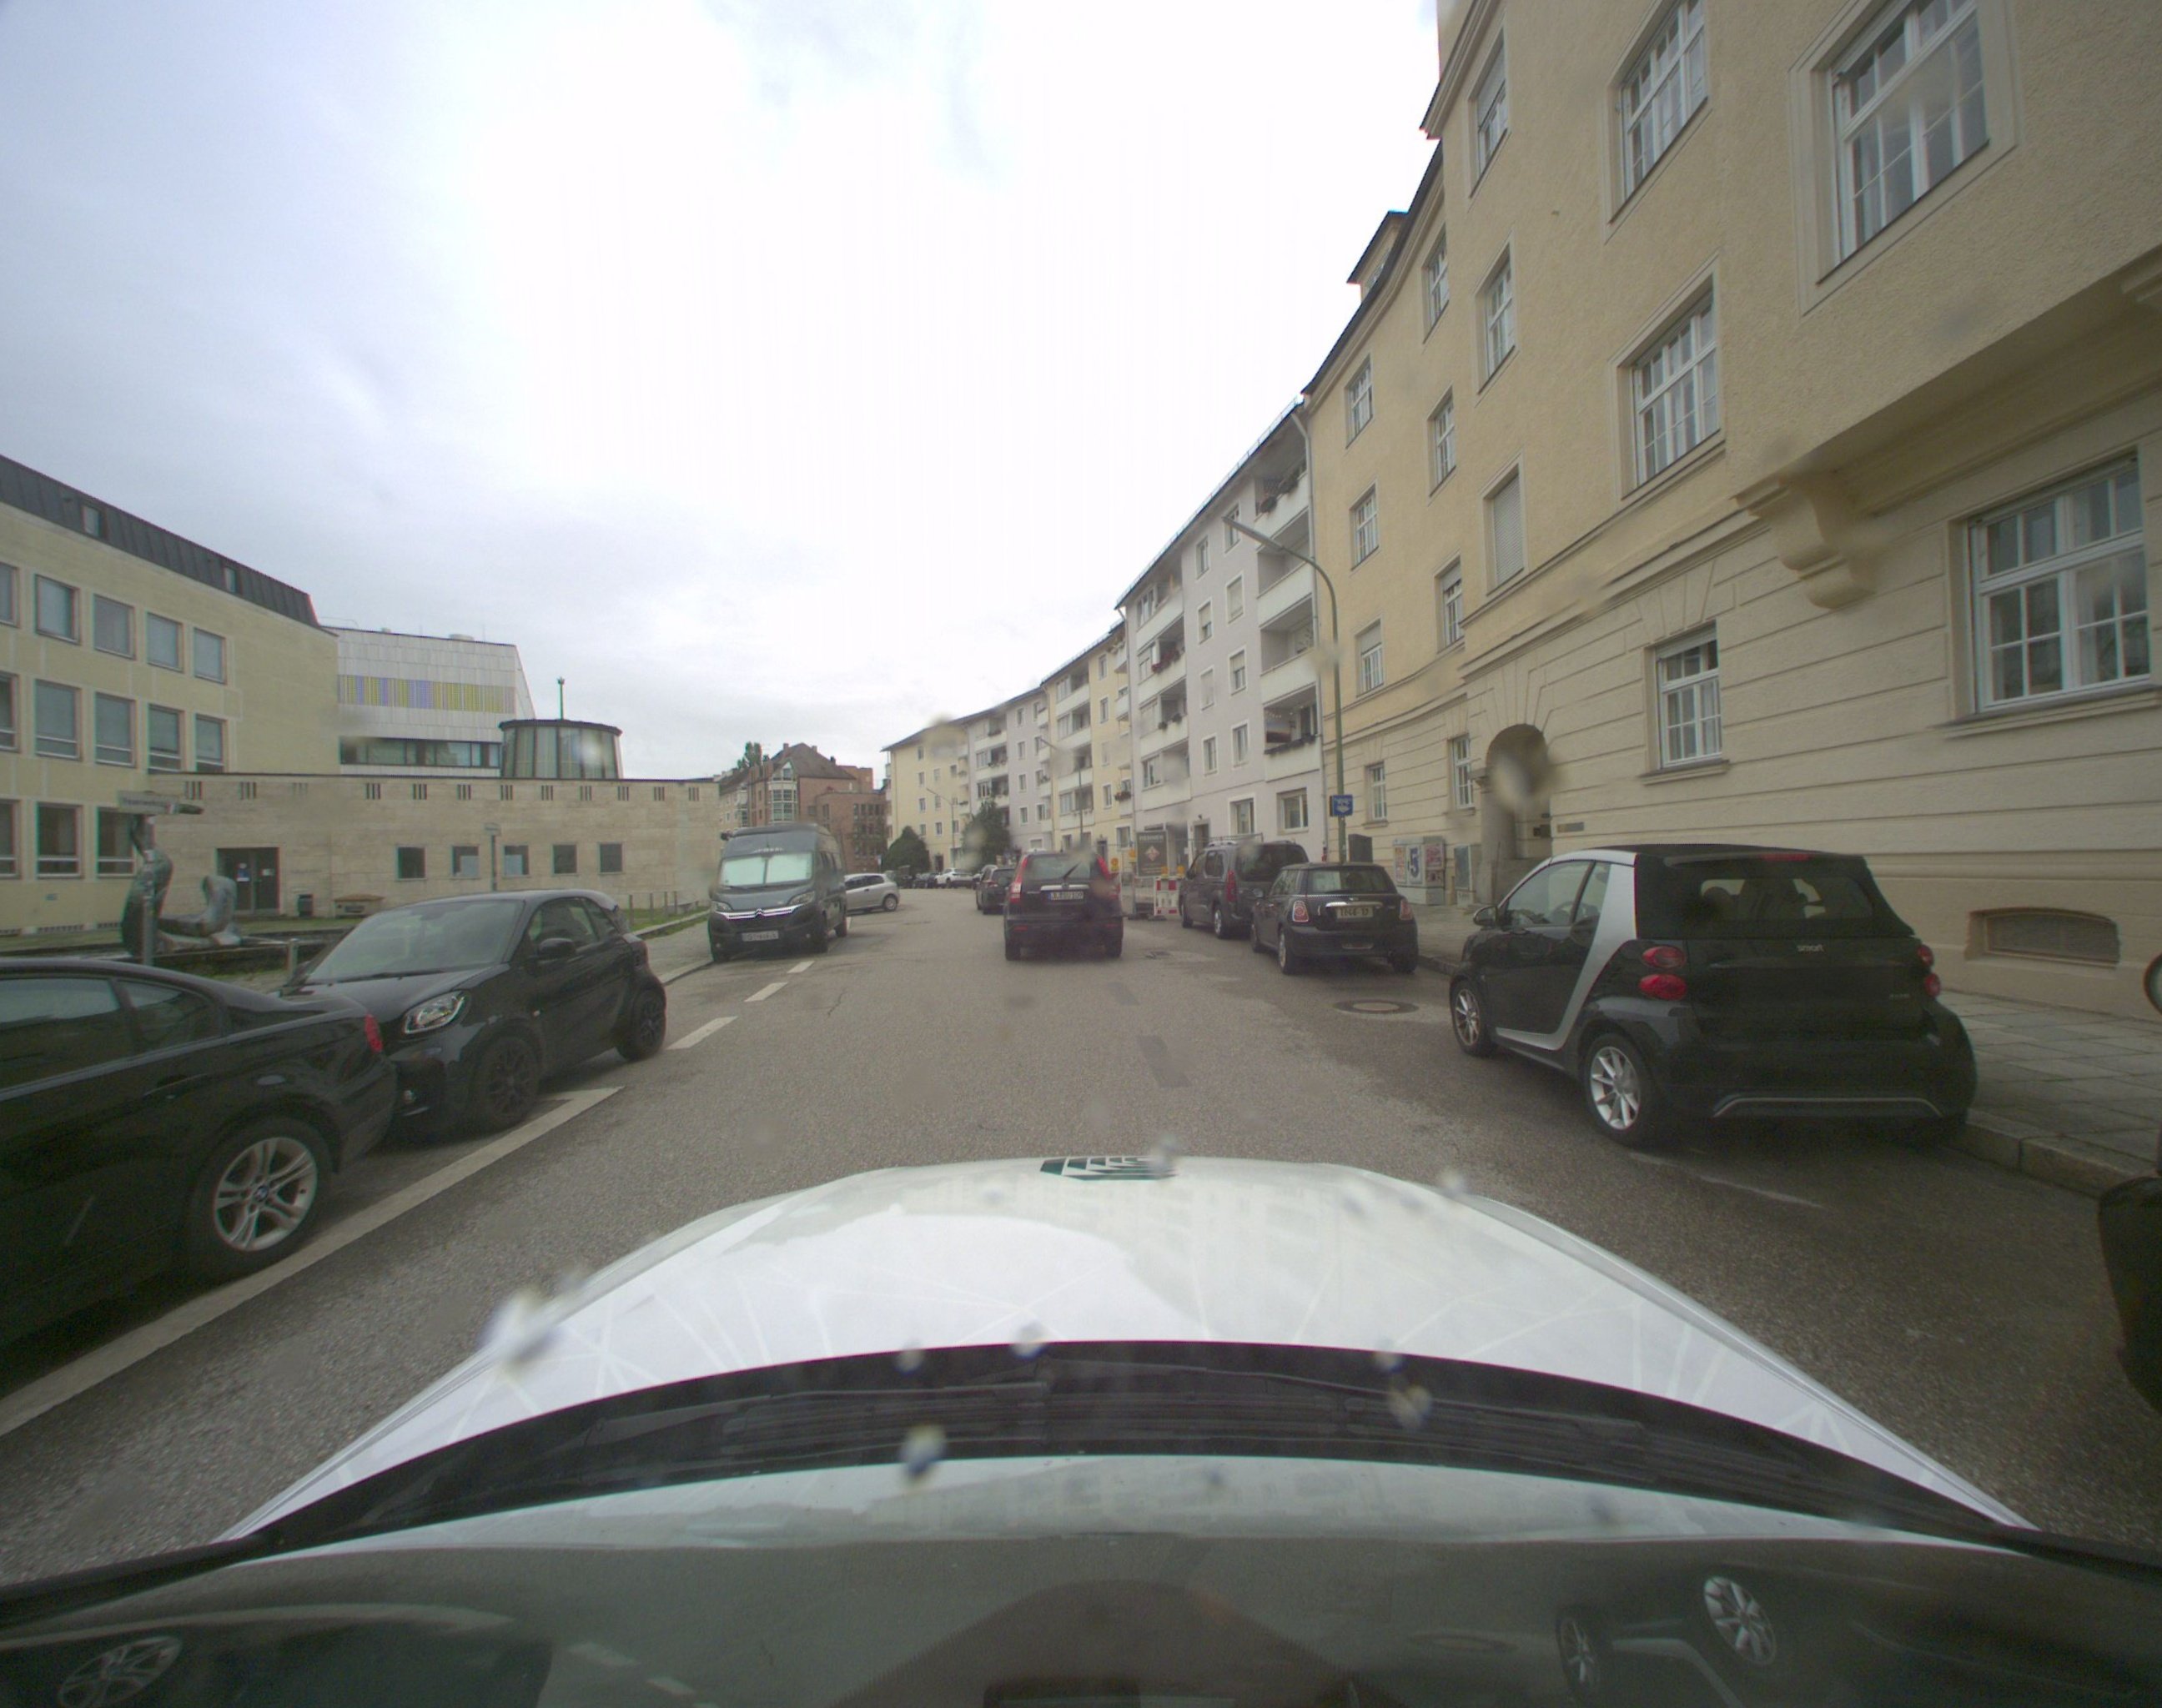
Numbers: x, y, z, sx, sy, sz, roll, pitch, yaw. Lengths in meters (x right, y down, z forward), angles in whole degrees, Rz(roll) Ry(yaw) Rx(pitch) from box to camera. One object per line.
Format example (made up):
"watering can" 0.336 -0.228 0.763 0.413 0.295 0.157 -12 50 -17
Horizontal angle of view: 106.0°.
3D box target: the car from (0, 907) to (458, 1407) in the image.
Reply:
"car" -4.185 1.023 2.144 1.795 1.406 4.449 -4 0 -4

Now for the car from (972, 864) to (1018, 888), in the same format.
"car" -5.671 1.439 53.516 1.733 1.483 3.966 -1 -1 -26

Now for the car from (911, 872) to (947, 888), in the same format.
"car" -12.446 2.094 66.641 1.709 1.236 3.565 -1 -1 -32

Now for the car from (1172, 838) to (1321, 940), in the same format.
"car" 3.214 0.640 16.726 1.775 1.807 4.266 0 -1 -6

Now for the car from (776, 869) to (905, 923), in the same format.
"car" -8.642 1.489 29.544 1.663 1.481 4.112 -7 -2 41

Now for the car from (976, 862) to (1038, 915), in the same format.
"car" -2.402 1.020 25.640 1.678 1.481 4.074 -2 -1 -9

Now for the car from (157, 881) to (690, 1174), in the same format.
"car" -4.506 1.040 6.207 1.667 1.502 2.973 -4 -1 -4

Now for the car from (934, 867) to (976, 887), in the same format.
"car" -9.716 1.756 62.534 1.736 1.483 3.959 -1 -1 -32

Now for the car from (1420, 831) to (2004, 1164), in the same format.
"car" 3.558 0.681 5.331 1.528 1.524 3.113 -1 -1 3

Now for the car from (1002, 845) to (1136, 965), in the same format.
"car" -0.346 0.748 13.661 1.888 1.647 3.983 -2 -1 -5

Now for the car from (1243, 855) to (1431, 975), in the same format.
"car" 3.481 0.762 11.791 1.701 1.447 3.833 -1 -1 3

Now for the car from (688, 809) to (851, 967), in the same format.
"car" -6.270 0.605 17.238 2.166 2.641 5.992 -3 0 -12

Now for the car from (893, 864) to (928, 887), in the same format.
"car" -14.809 1.825 70.512 1.736 1.878 3.959 -1 -1 -32

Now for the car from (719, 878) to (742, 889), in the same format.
"car" -50.027 4.157 116.248 1.823 1.472 4.068 -1 -1 -41

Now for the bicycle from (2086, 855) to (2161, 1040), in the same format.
"bicycle" 6.781 0.562 4.268 0.577 1.083 1.954 -5 0 2
